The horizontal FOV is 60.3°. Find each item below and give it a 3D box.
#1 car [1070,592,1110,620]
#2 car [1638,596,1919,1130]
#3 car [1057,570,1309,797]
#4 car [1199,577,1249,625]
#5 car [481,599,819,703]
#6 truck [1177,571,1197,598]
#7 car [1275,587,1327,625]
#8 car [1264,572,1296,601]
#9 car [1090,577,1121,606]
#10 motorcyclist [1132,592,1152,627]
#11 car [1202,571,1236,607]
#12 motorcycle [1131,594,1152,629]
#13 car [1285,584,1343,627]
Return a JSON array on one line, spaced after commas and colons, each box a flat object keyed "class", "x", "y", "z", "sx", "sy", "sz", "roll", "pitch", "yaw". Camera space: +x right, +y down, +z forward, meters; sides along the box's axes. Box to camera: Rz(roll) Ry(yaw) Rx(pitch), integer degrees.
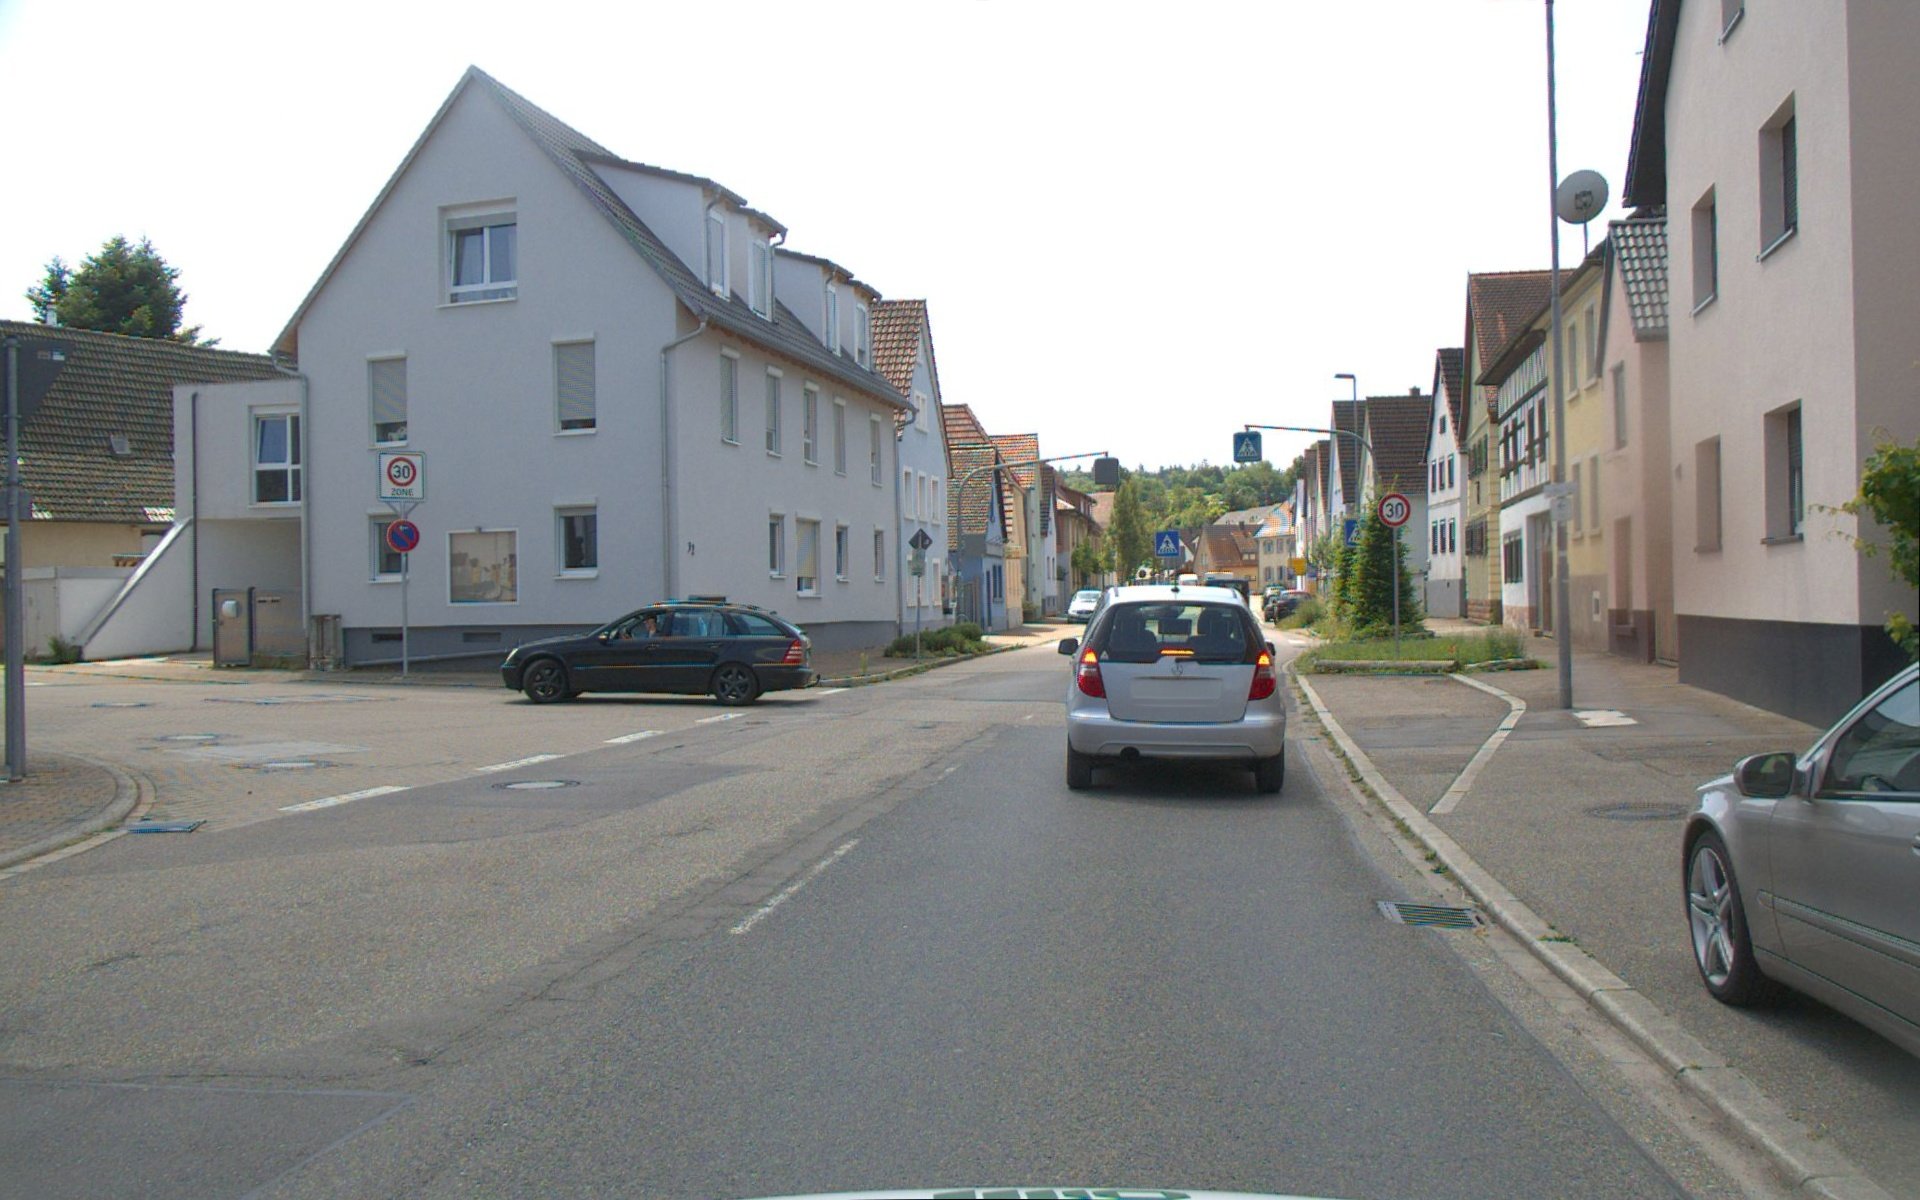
[{"class": "car", "x": 6.486, "y": 0.310, "z": 82.727, "sx": 1.952, "sy": 1.344, "sz": 3.710, "roll": 0, "pitch": -2, "yaw": 4}, {"class": "car", "x": 3.432, "y": 0.667, "z": 4.554, "sx": 1.732, "sy": 1.424, "sz": 4.427, "roll": -4, "pitch": -2, "yaw": 7}, {"class": "car", "x": 1.790, "y": 0.631, "z": 14.338, "sx": 1.773, "sy": 1.672, "sz": 3.730, "roll": 1, "pitch": 0, "yaw": 2}, {"class": "car", "x": 10.834, "y": 0.063, "z": 68.060, "sx": 1.951, "sy": 1.848, "sz": 4.003, "roll": 0, "pitch": -2, "yaw": 8}, {"class": "car", "x": -4.357, "y": 0.728, "z": 23.804, "sx": 4.528, "sy": 1.436, "sz": 1.813, "roll": 0, "pitch": -2, "yaw": -2}, {"class": "truck", "x": 23.227, "y": -1.543, "z": 169.179, "sx": 1.951, "sy": 2.581, "sz": 6.744, "roll": 0, "pitch": -2, "yaw": 8}, {"class": "car", "x": 14.538, "y": 0.275, "z": 70.626, "sx": 1.951, "sy": 1.534, "sz": 4.003, "roll": 0, "pitch": -2, "yaw": 9}, {"class": "car", "x": 21.966, "y": -0.919, "z": 113.667, "sx": 1.951, "sy": 1.848, "sz": 4.003, "roll": 0, "pitch": -2, "yaw": 8}, {"class": "car", "x": 8.950, "y": -0.487, "z": 101.384, "sx": 1.631, "sy": 1.624, "sz": 4.003, "roll": 0, "pitch": -2, "yaw": 9}, {"class": "motorcyclist", "x": 8.315, "y": 0.432, "z": 75.563, "sx": 0.877, "sy": 1.582, "sz": 0.808, "roll": 0, "pitch": 0, "yaw": 9}, {"class": "car", "x": 15.426, "y": -0.634, "z": 98.604, "sx": 1.951, "sy": 2.049, "sz": 4.003, "roll": 0, "pitch": -2, "yaw": 9}, {"class": "motorcycle", "x": 8.314, "y": 0.511, "z": 75.701, "sx": 0.861, "sy": 1.588, "sz": 1.969, "roll": 0, "pitch": 0, "yaw": 9}, {"class": "car", "x": 13.586, "y": 0.244, "z": 63.692, "sx": 1.951, "sy": 1.534, "sz": 4.003, "roll": 0, "pitch": -2, "yaw": 9}]
